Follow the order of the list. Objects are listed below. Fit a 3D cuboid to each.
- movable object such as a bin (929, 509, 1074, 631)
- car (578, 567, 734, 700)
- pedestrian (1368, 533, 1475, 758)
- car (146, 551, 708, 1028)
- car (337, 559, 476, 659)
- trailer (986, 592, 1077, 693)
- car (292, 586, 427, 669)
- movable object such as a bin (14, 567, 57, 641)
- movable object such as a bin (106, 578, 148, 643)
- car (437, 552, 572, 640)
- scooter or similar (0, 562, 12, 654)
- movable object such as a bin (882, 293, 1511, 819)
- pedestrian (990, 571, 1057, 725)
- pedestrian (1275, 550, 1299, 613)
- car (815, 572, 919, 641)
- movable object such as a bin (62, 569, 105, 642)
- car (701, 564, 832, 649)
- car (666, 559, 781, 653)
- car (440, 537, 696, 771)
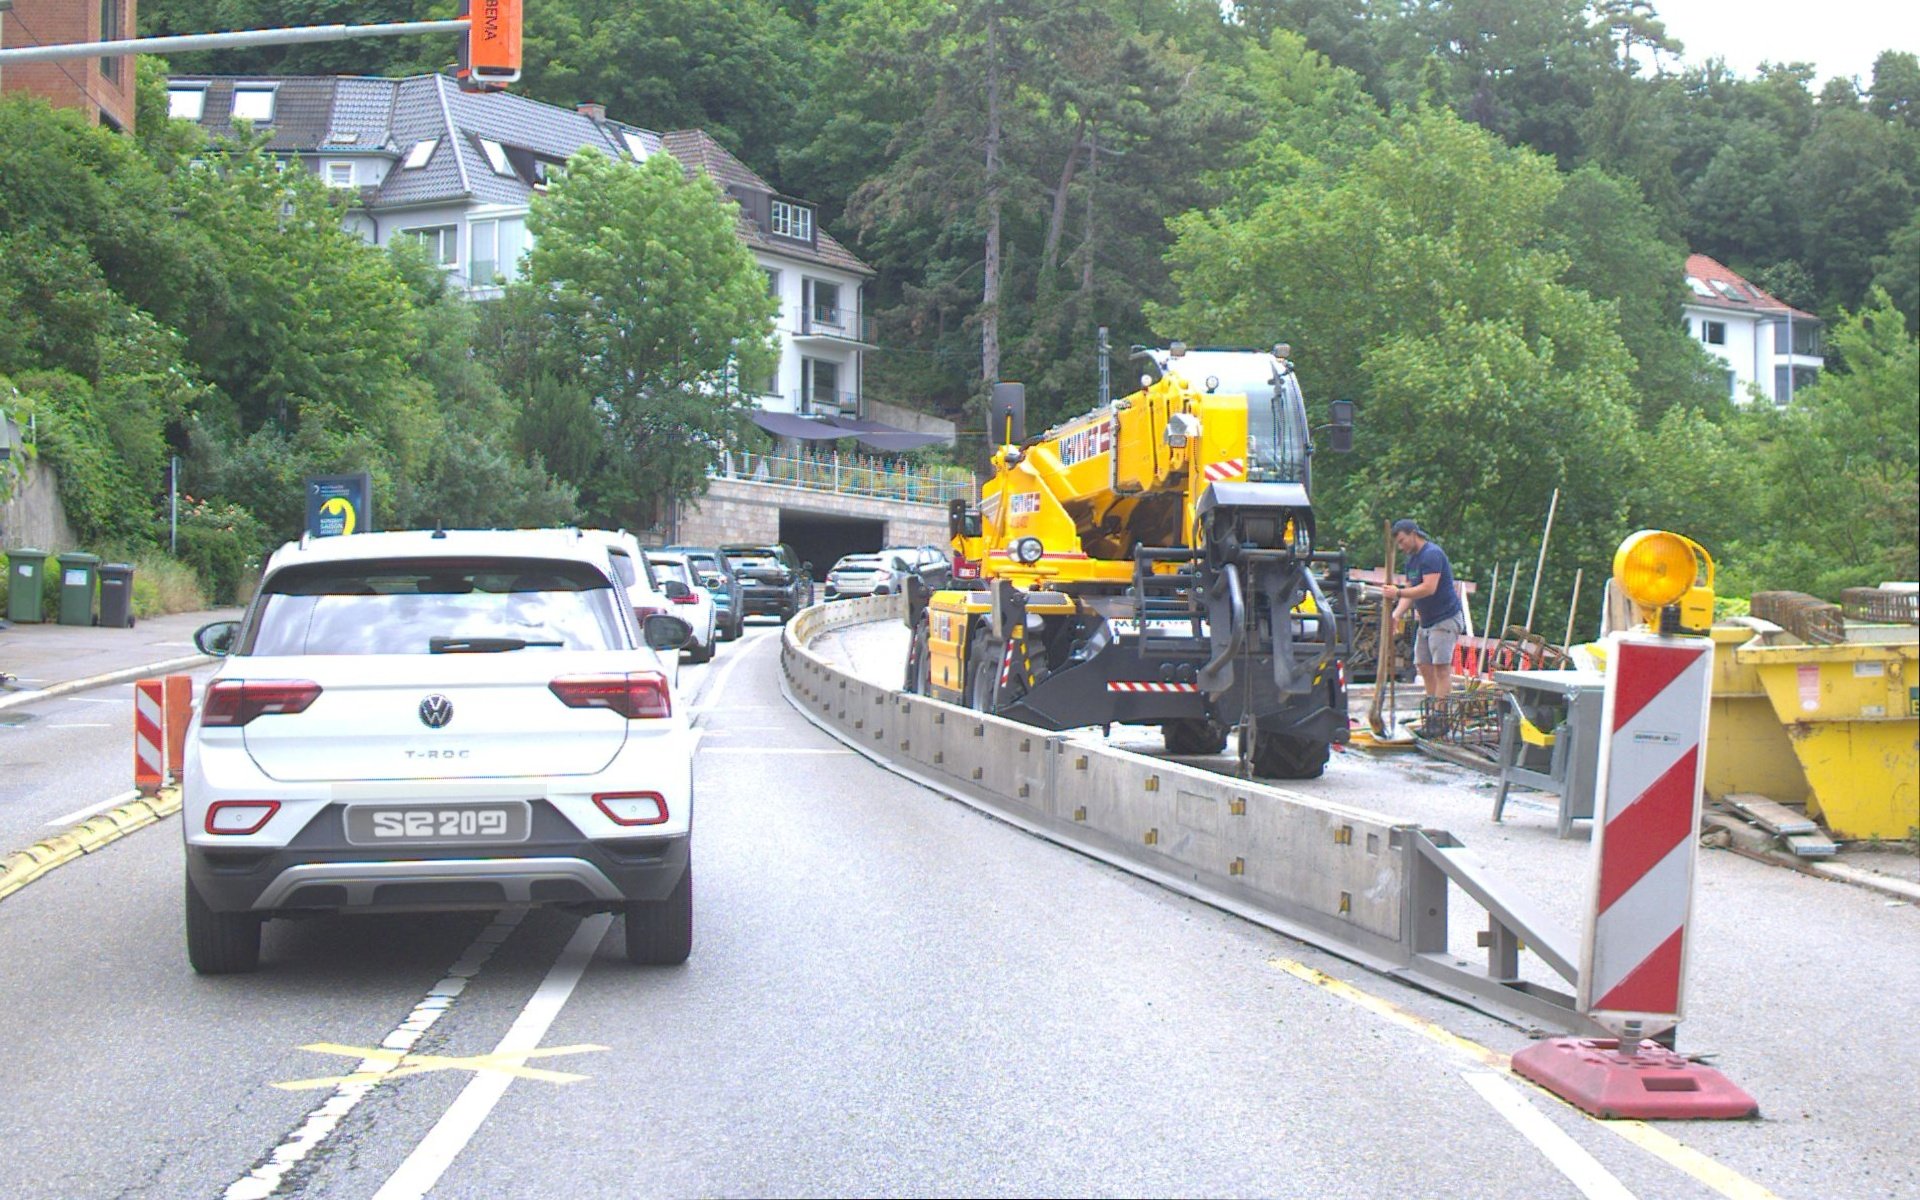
[{"bbox_3d":[0.980,-0.679,77.464,2.213,2.654,4.942,0,0,13],"label":"movable object such as a bin"},{"bbox_3d":[-4.007,0.415,45.818,1.809,1.657,4.000,-1,0,-2],"label":"car"},{"bbox_3d":[3.713,0.359,27.681,0.689,1.789,0.540,0,1,-16],"label":"pedestrian"},{"bbox_3d":[-2.022,0.617,13.373,1.809,1.526,4.001,-1,0,-8],"label":"car"},{"bbox_3d":[-8.137,0.124,50.750,1.671,1.426,3.588,0,0,-3],"label":"car"},{"bbox_3d":[1.116,0.618,52.442,1.288,1.470,3.633,0,0,2],"label":"trailer"},{"bbox_3d":[-11.787,0.518,67.749,1.794,1.505,4.000,2,0,2],"label":"car"},{"bbox_3d":[-13.437,0.054,49.952,0.468,1.050,0.624,2,0,-4],"label":"movable object such as a bin"},{"bbox_3d":[-12.127,0.150,50.048,0.468,0.931,0.624,2,0,-4],"label":"movable object such as a bin"},{"bbox_3d":[-8.526,-0.084,64.643,1.842,1.594,4.263,0,0,2],"label":"car"},{"bbox_3d":[-12.711,0.095,44.740,0.459,1.201,1.435,2,0,-6],"label":"scooter or similar"},{"bbox_3d":[1.321,-0.270,24.077,2.811,3.060,7.825,1,0,-8],"label":"movable object such as a bin"},{"bbox_3d":[0.708,0.528,38.482,0.645,1.696,0.850,1,0,-4],"label":"pedestrian"},{"bbox_3d":[9.952,-0.557,104.500,0.690,1.900,0.825,-1,0,6],"label":"pedestrian"},{"bbox_3d":[-2.281,0.142,85.538,1.810,1.657,3.998,-1,0,10],"label":"car"},{"bbox_3d":[-12.744,0.079,49.992,0.468,1.050,0.624,2,0,-4],"label":"movable object such as a bin"},{"bbox_3d":[-3.927,0.123,70.510,1.810,1.657,3.998,-1,0,10],"label":"car"},{"bbox_3d":[-3.983,0.085,58.462,1.794,1.505,4.000,-1,0,-2],"label":"car"},{"bbox_3d":[-3.017,0.383,26.976,1.809,1.657,4.001,-1,0,-5],"label":"car"}]
